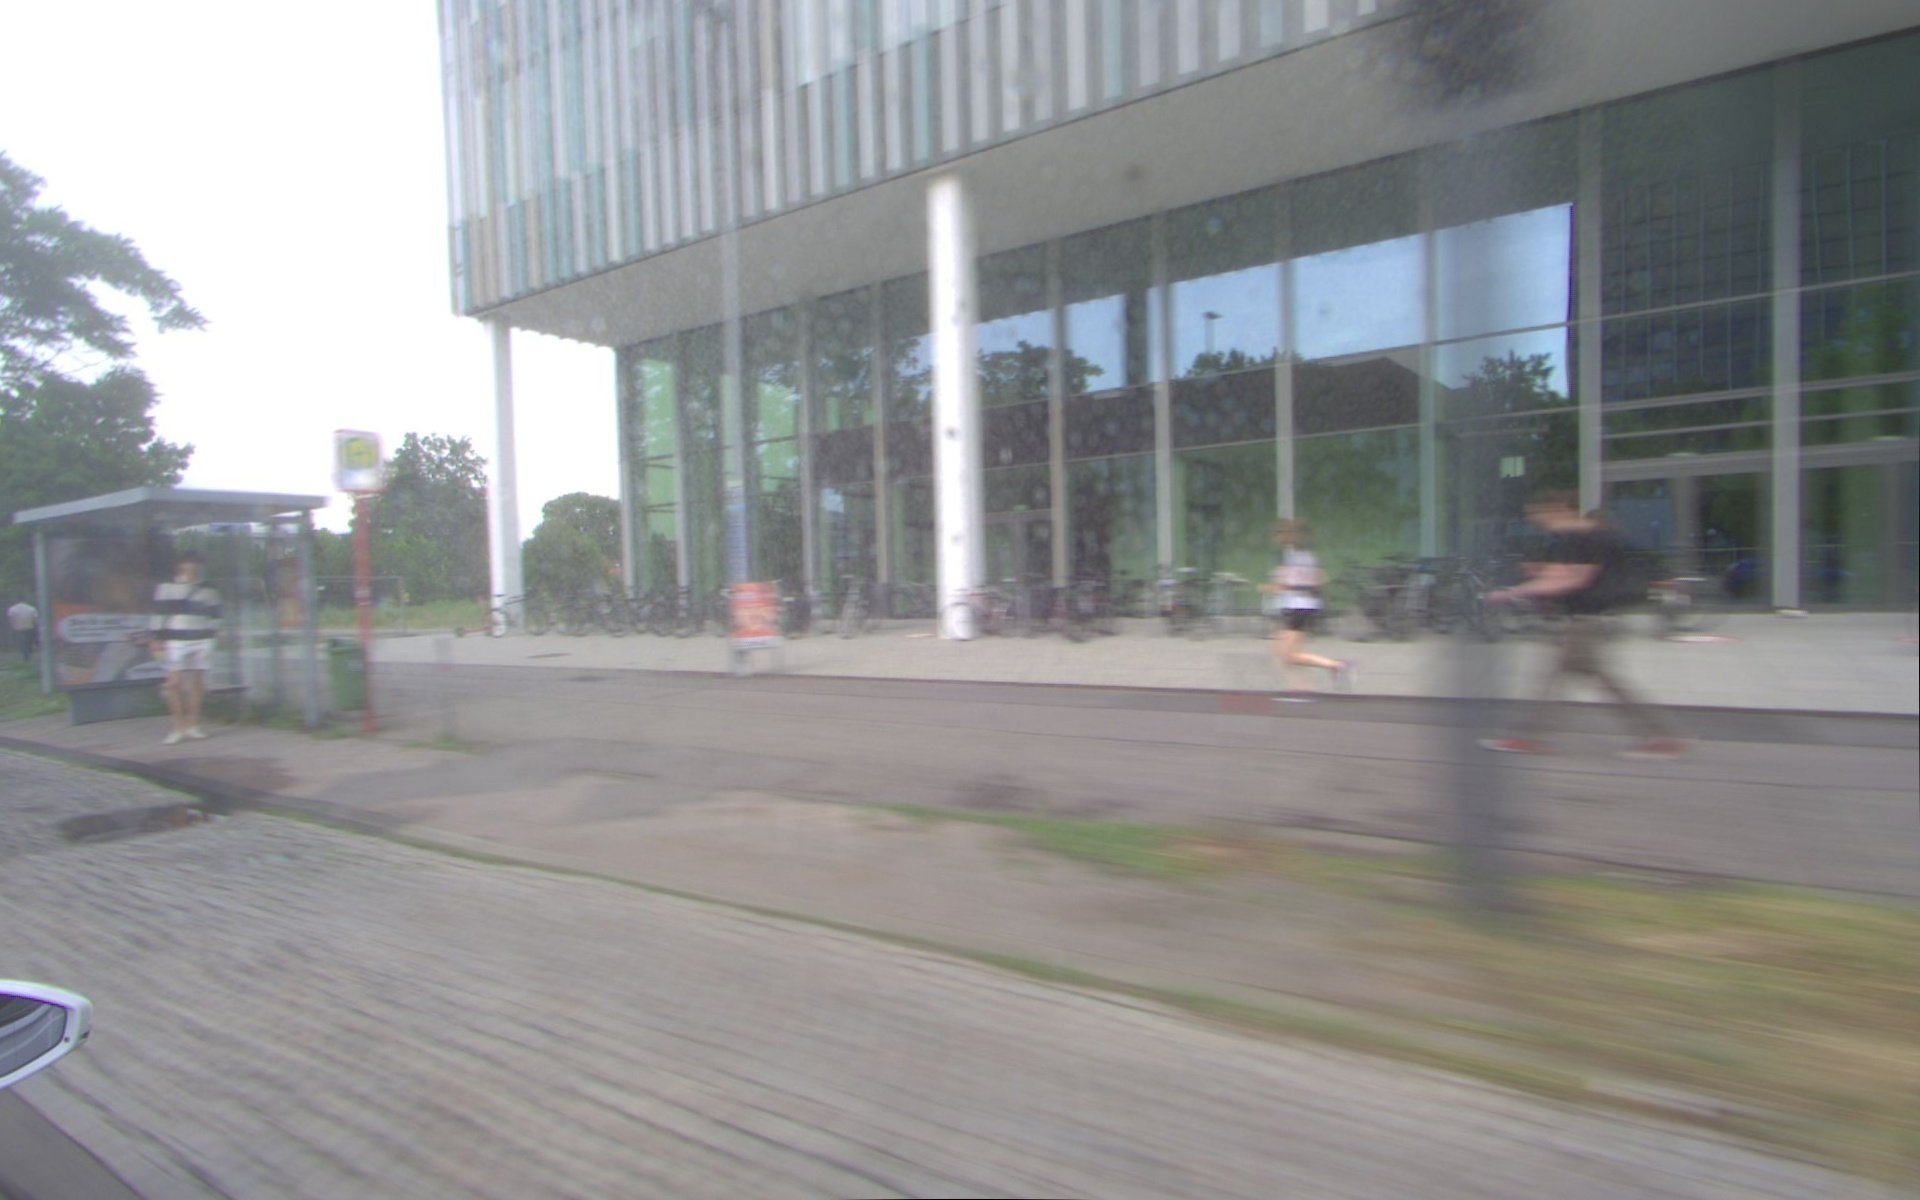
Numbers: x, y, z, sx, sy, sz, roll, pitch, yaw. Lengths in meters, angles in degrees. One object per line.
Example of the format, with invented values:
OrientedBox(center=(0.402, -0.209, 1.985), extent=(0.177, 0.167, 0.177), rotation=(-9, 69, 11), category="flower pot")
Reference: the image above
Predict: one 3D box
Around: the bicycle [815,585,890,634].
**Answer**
OrientedBox(center=(-2.057, 0.170, 19.370), extent=(0.548, 0.845, 1.527), rotation=(-1, 3, 34), category="bicycle")

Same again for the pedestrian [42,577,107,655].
OrientedBox(center=(-23.608, 0.417, 26.711), extent=(1.024, 2.041, 0.924), rotation=(-1, 2, 30), category="pedestrian")

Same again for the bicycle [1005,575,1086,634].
OrientedBox(center=(1.521, 0.064, 17.572), extent=(0.510, 0.960, 1.683), rotation=(0, 2, 40), category="bicycle")

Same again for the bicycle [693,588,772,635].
OrientedBox(center=(-4.678, 0.225, 20.676), extent=(0.548, 0.887, 1.601), rotation=(-1, 3, 34), category="bicycle")

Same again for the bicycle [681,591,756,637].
OrientedBox(center=(-5.234, 0.293, 21.768), extent=(0.548, 0.887, 1.601), rotation=(-1, 3, 34), category="bicycle")

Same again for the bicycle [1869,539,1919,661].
OrientedBox(center=(10.118, -0.028, 9.455), extent=(2.168, 1.156, 0.634), rotation=(-1, 4, 30), category="bicycle")

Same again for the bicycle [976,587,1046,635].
OrientedBox(center=(0.917, 0.184, 17.755), extent=(0.548, 0.756, 1.429), rotation=(-1, 3, 34), category="bicycle")

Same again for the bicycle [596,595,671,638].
OrientedBox(center=(-7.533, 0.370, 23.147), extent=(0.548, 0.887, 1.601), rotation=(-1, 3, 34), category="bicycle")

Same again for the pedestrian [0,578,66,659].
OrientedBox(center=(-24.073, 0.476, 25.986), extent=(1.024, 2.041, 0.924), rotation=(-1, 2, 30), category="pedestrian")

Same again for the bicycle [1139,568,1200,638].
OrientedBox(center=(3.416, 0.039, 16.288), extent=(0.429, 1.064, 1.191), rotation=(0, 3, 40), category="bicycle")

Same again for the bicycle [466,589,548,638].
OrientedBox(center=(-11.450, 0.325, 25.381), extent=(0.617, 1.097, 1.789), rotation=(-1, 4, 32), category="bicycle")

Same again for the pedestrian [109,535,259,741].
OrientedBox(center=(-8.141, 0.355, 10.528), extent=(0.841, 2.042, 0.909), rotation=(2, 5, 33), category="pedestrian")

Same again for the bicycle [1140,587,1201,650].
OrientedBox(center=(3.395, 0.277, 16.050), extent=(0.361, 0.908, 1.601), rotation=(-1, 2, 34), category="bicycle")

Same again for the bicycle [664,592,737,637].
OrientedBox(center=(-5.699, 0.307, 22.080), extent=(0.509, 0.896, 1.598), rotation=(-1, 2, 34), category="bicycle")

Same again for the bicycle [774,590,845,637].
OrientedBox(center=(-3.013, 0.262, 20.200), extent=(0.548, 0.850, 1.450), rotation=(-1, 3, 34), category="bicycle")

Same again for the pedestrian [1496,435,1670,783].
OrientedBox(center=(4.022, 0.041, 6.447), extent=(0.882, 2.042, 0.839), rotation=(0, 4, 36), category="pedestrian")

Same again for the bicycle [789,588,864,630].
OrientedBox(center=(-2.606, 0.166, 19.704), extent=(0.548, 0.726, 1.555), rotation=(-1, 3, 34), category="bicycle")

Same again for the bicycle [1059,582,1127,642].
OrientedBox(center=(2.161, 0.177, 16.208), extent=(0.548, 0.887, 1.278), rotation=(-1, 3, 34), category="bicycle")

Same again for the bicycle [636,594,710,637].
OrientedBox(center=(-6.466, 0.337, 22.633), extent=(0.548, 0.887, 1.601), rotation=(-1, 3, 34), category="bicycle")

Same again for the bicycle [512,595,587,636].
OrientedBox(center=(-9.879, 0.370, 24.139), extent=(0.548, 0.887, 1.601), rotation=(-1, 3, 34), category="bicycle")

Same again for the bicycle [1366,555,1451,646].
OrientedBox(center=(6.174, -0.015, 13.744), extent=(0.566, 1.107, 1.634), rotation=(0, 5, 42), category="bicycle")

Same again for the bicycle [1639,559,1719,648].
OrientedBox(center=(8.846, 0.015, 12.297), extent=(0.563, 0.949, 1.595), rotation=(1, 6, 44), category="bicycle")

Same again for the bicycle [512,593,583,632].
OrientedBox(center=(-10.309, 0.298, 25.060), extent=(0.548, 0.886, 1.603), rotation=(-1, 2, 30), category="bicycle")

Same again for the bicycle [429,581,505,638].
OrientedBox(center=(-12.941, 0.245, 26.307), extent=(1.635, 1.352, 0.458), rotation=(-6, 5, -43), category="bicycle")

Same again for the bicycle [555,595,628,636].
OrientedBox(center=(-8.833, 0.356, 24.045), extent=(0.548, 0.887, 1.601), rotation=(-1, 3, 34), category="bicycle")

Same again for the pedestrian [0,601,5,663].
OrientedBox(center=(-32.291, 1.086, 33.096), extent=(0.710, 2.041, 0.821), rotation=(-1, 3, 33), category="pedestrian")

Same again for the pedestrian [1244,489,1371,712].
OrientedBox(center=(3.110, 0.000, 8.925), extent=(0.881, 1.861, 0.840), rotation=(-1, 2, 32), category="pedestrian")

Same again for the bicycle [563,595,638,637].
OrientedBox(center=(-8.451, 0.359, 23.578), extent=(0.548, 0.887, 1.601), rotation=(-1, 3, 34), category="bicycle")

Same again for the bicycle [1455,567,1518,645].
OrientedBox(center=(6.870, 0.052, 13.035), extent=(0.548, 0.887, 1.600), rotation=(0, 4, 34), category="bicycle")

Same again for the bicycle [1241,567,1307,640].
OrientedBox(center=(4.781, 0.037, 15.210), extent=(0.543, 1.021, 1.237), rotation=(0, 3, 38), category="bicycle")

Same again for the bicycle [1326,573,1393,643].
OrientedBox(center=(5.656, 0.093, 14.134), extent=(0.548, 0.887, 1.601), rotation=(0, 3, 34), category="bicycle")

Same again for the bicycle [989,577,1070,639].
OrientedBox(center=(1.134, 0.112, 16.142), extent=(0.548, 0.887, 1.601), rotation=(-1, 3, 34), category="bicycle")

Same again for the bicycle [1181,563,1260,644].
OrientedBox(center=(4.004, 0.036, 15.330), extent=(0.565, 1.117, 1.637), rotation=(0, 4, 37), category="bicycle")

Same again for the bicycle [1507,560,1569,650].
OrientedBox(center=(7.308, 0.041, 12.630), extent=(0.548, 0.996, 1.600), rotation=(-1, 4, 34), category="bicycle")

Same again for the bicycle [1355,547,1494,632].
OrientedBox(center=(7.071, -0.184, 15.233), extent=(1.951, 1.161, 0.647), rotation=(-4, 4, -15), category="bicycle")

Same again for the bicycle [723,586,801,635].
OrientedBox(center=(-3.993, 0.198, 20.295), extent=(0.548, 0.887, 1.601), rotation=(-1, 3, 34), category="bicycle")

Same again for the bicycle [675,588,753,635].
OrientedBox(center=(-5.150, 0.233, 21.007), extent=(0.548, 0.887, 1.601), rotation=(-1, 3, 34), category="bicycle")
